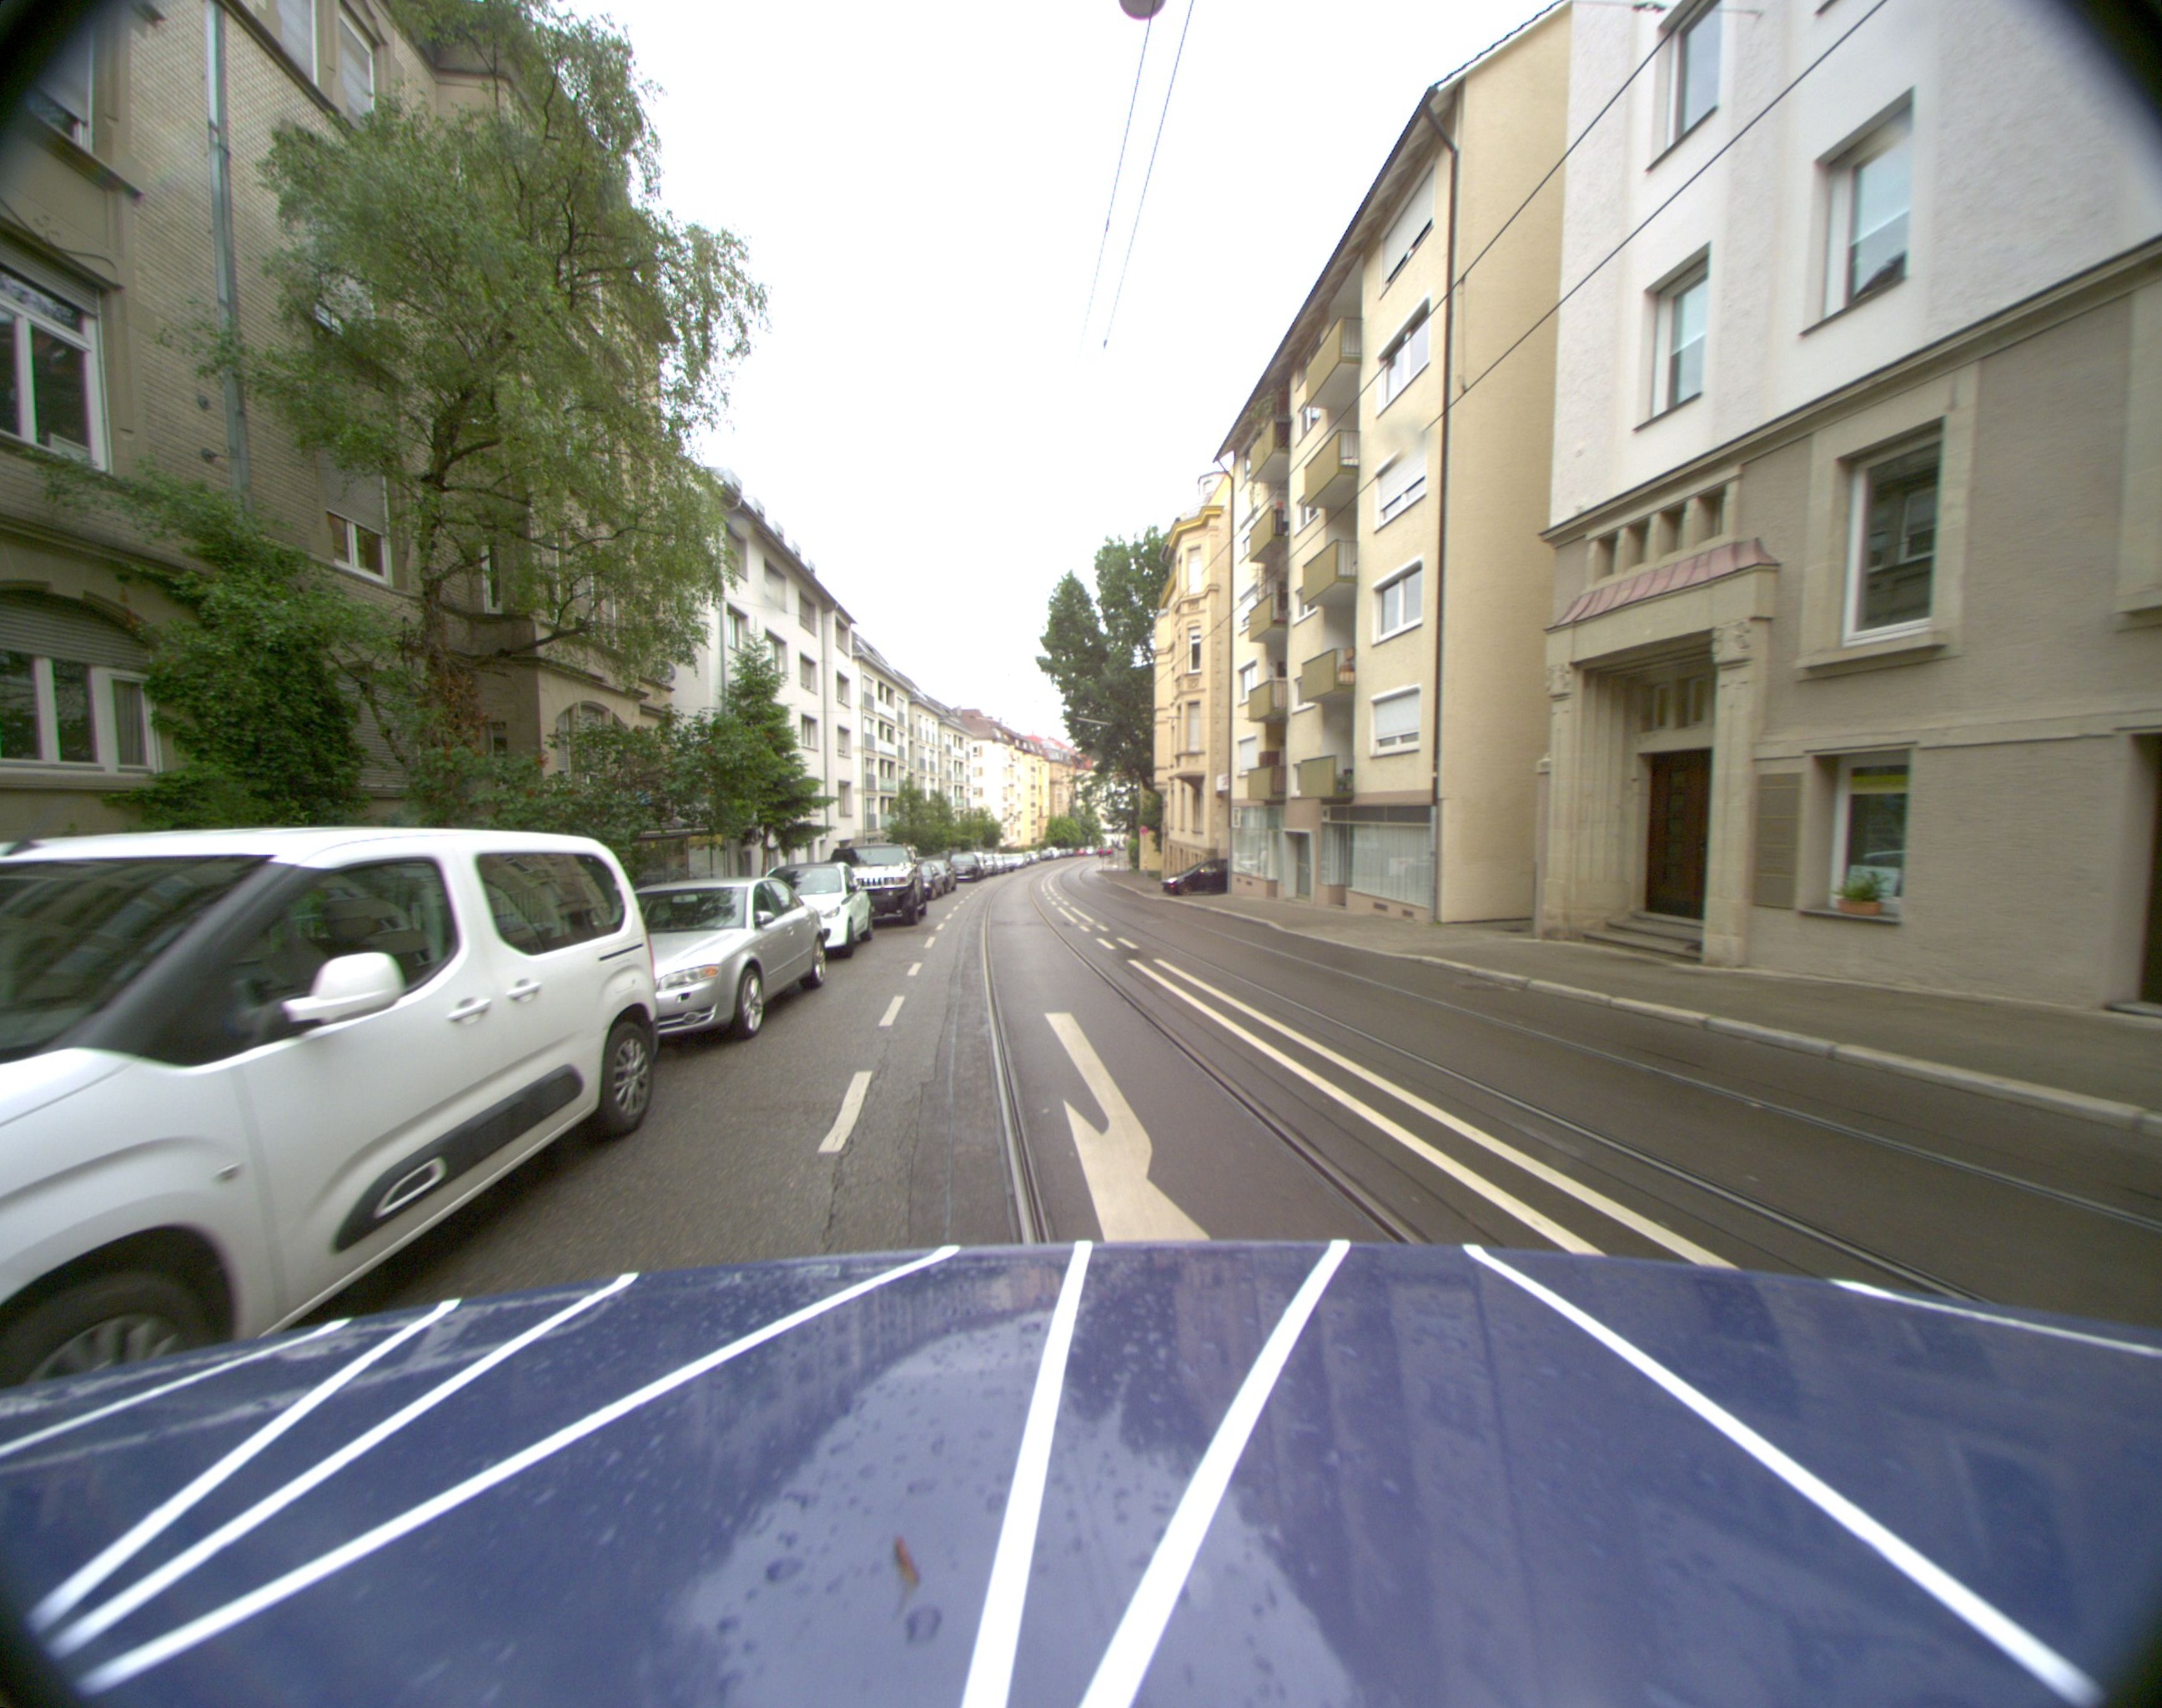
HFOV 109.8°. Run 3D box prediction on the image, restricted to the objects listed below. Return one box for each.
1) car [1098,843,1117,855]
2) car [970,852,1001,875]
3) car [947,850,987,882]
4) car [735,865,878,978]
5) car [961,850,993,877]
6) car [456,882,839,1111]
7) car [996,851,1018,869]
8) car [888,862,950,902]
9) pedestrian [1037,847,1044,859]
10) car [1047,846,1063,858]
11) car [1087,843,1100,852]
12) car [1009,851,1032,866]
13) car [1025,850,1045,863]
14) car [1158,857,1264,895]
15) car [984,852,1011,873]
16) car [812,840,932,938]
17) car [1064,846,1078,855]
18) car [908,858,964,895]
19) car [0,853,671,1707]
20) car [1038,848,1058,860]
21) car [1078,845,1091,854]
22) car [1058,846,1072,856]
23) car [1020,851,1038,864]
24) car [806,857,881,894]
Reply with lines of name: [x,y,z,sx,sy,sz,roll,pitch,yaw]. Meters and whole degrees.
car: [4.183,-0.860,120.223,2.067,1.668,4.774,2,2,12]
car: [-7.341,0.674,58.985,1.837,1.647,4.685,-1,1,-1]
car: [-6.997,0.678,47.146,1.948,1.785,4.818,-2,1,-3]
car: [-4.552,1.023,13.100,1.565,1.537,3.581,-3,1,-9]
car: [-7.221,0.631,52.980,1.783,1.785,4.469,-1,1,-2]
car: [-3.895,1.122,7.859,1.754,1.392,4.475,-3,1,-7]
car: [-6.784,0.530,70.083,1.981,1.576,4.563,-1,1,-5]
car: [-6.118,1.012,29.069,1.683,1.330,3.881,-2,0,-3]
pedestrian: [-5.602,-0.167,105.660,0.716,1.703,0.665,2,2,9]
car: [-3.692,-0.281,107.880,1.798,1.613,3.868,-2,1,6]
car: [2.287,-1.149,138.058,1.612,1.434,3.690,-1,1,13]
car: [-6.277,0.456,79.635,1.862,1.507,4.789,-1,1,2]
car: [-5.572,0.299,92.234,1.721,1.459,4.391,-1,1,6]
car: [5.326,0.901,31.397,3.998,1.445,1.740,-1,1,-4]
car: [-7.044,0.660,64.481,1.837,1.618,4.662,-1,1,-2]
car: [-5.042,0.736,19.147,2.135,2.002,5.346,-3,1,-8]
car: [-1.568,-0.568,121.860,1.658,1.360,3.637,-2,1,8]
car: [-6.347,0.940,33.727,1.799,1.429,4.609,-2,0,-3]
car: [-3.327,0.922,2.686,1.803,1.755,4.459,-3,1,-8]
car: [-4.425,-0.047,102.609,1.797,1.444,4.105,-2,1,9]
car: [0.572,-0.817,129.256,1.556,1.360,3.126,-1,2,13]
car: [-2.475,-0.441,116.681,1.590,1.434,3.477,-2,1,6]
car: [-5.928,0.389,87.243,1.599,1.416,3.515,-1,1,4]
car: [-10.528,0.919,33.946,1.817,1.418,4.153,-3,0,2]
